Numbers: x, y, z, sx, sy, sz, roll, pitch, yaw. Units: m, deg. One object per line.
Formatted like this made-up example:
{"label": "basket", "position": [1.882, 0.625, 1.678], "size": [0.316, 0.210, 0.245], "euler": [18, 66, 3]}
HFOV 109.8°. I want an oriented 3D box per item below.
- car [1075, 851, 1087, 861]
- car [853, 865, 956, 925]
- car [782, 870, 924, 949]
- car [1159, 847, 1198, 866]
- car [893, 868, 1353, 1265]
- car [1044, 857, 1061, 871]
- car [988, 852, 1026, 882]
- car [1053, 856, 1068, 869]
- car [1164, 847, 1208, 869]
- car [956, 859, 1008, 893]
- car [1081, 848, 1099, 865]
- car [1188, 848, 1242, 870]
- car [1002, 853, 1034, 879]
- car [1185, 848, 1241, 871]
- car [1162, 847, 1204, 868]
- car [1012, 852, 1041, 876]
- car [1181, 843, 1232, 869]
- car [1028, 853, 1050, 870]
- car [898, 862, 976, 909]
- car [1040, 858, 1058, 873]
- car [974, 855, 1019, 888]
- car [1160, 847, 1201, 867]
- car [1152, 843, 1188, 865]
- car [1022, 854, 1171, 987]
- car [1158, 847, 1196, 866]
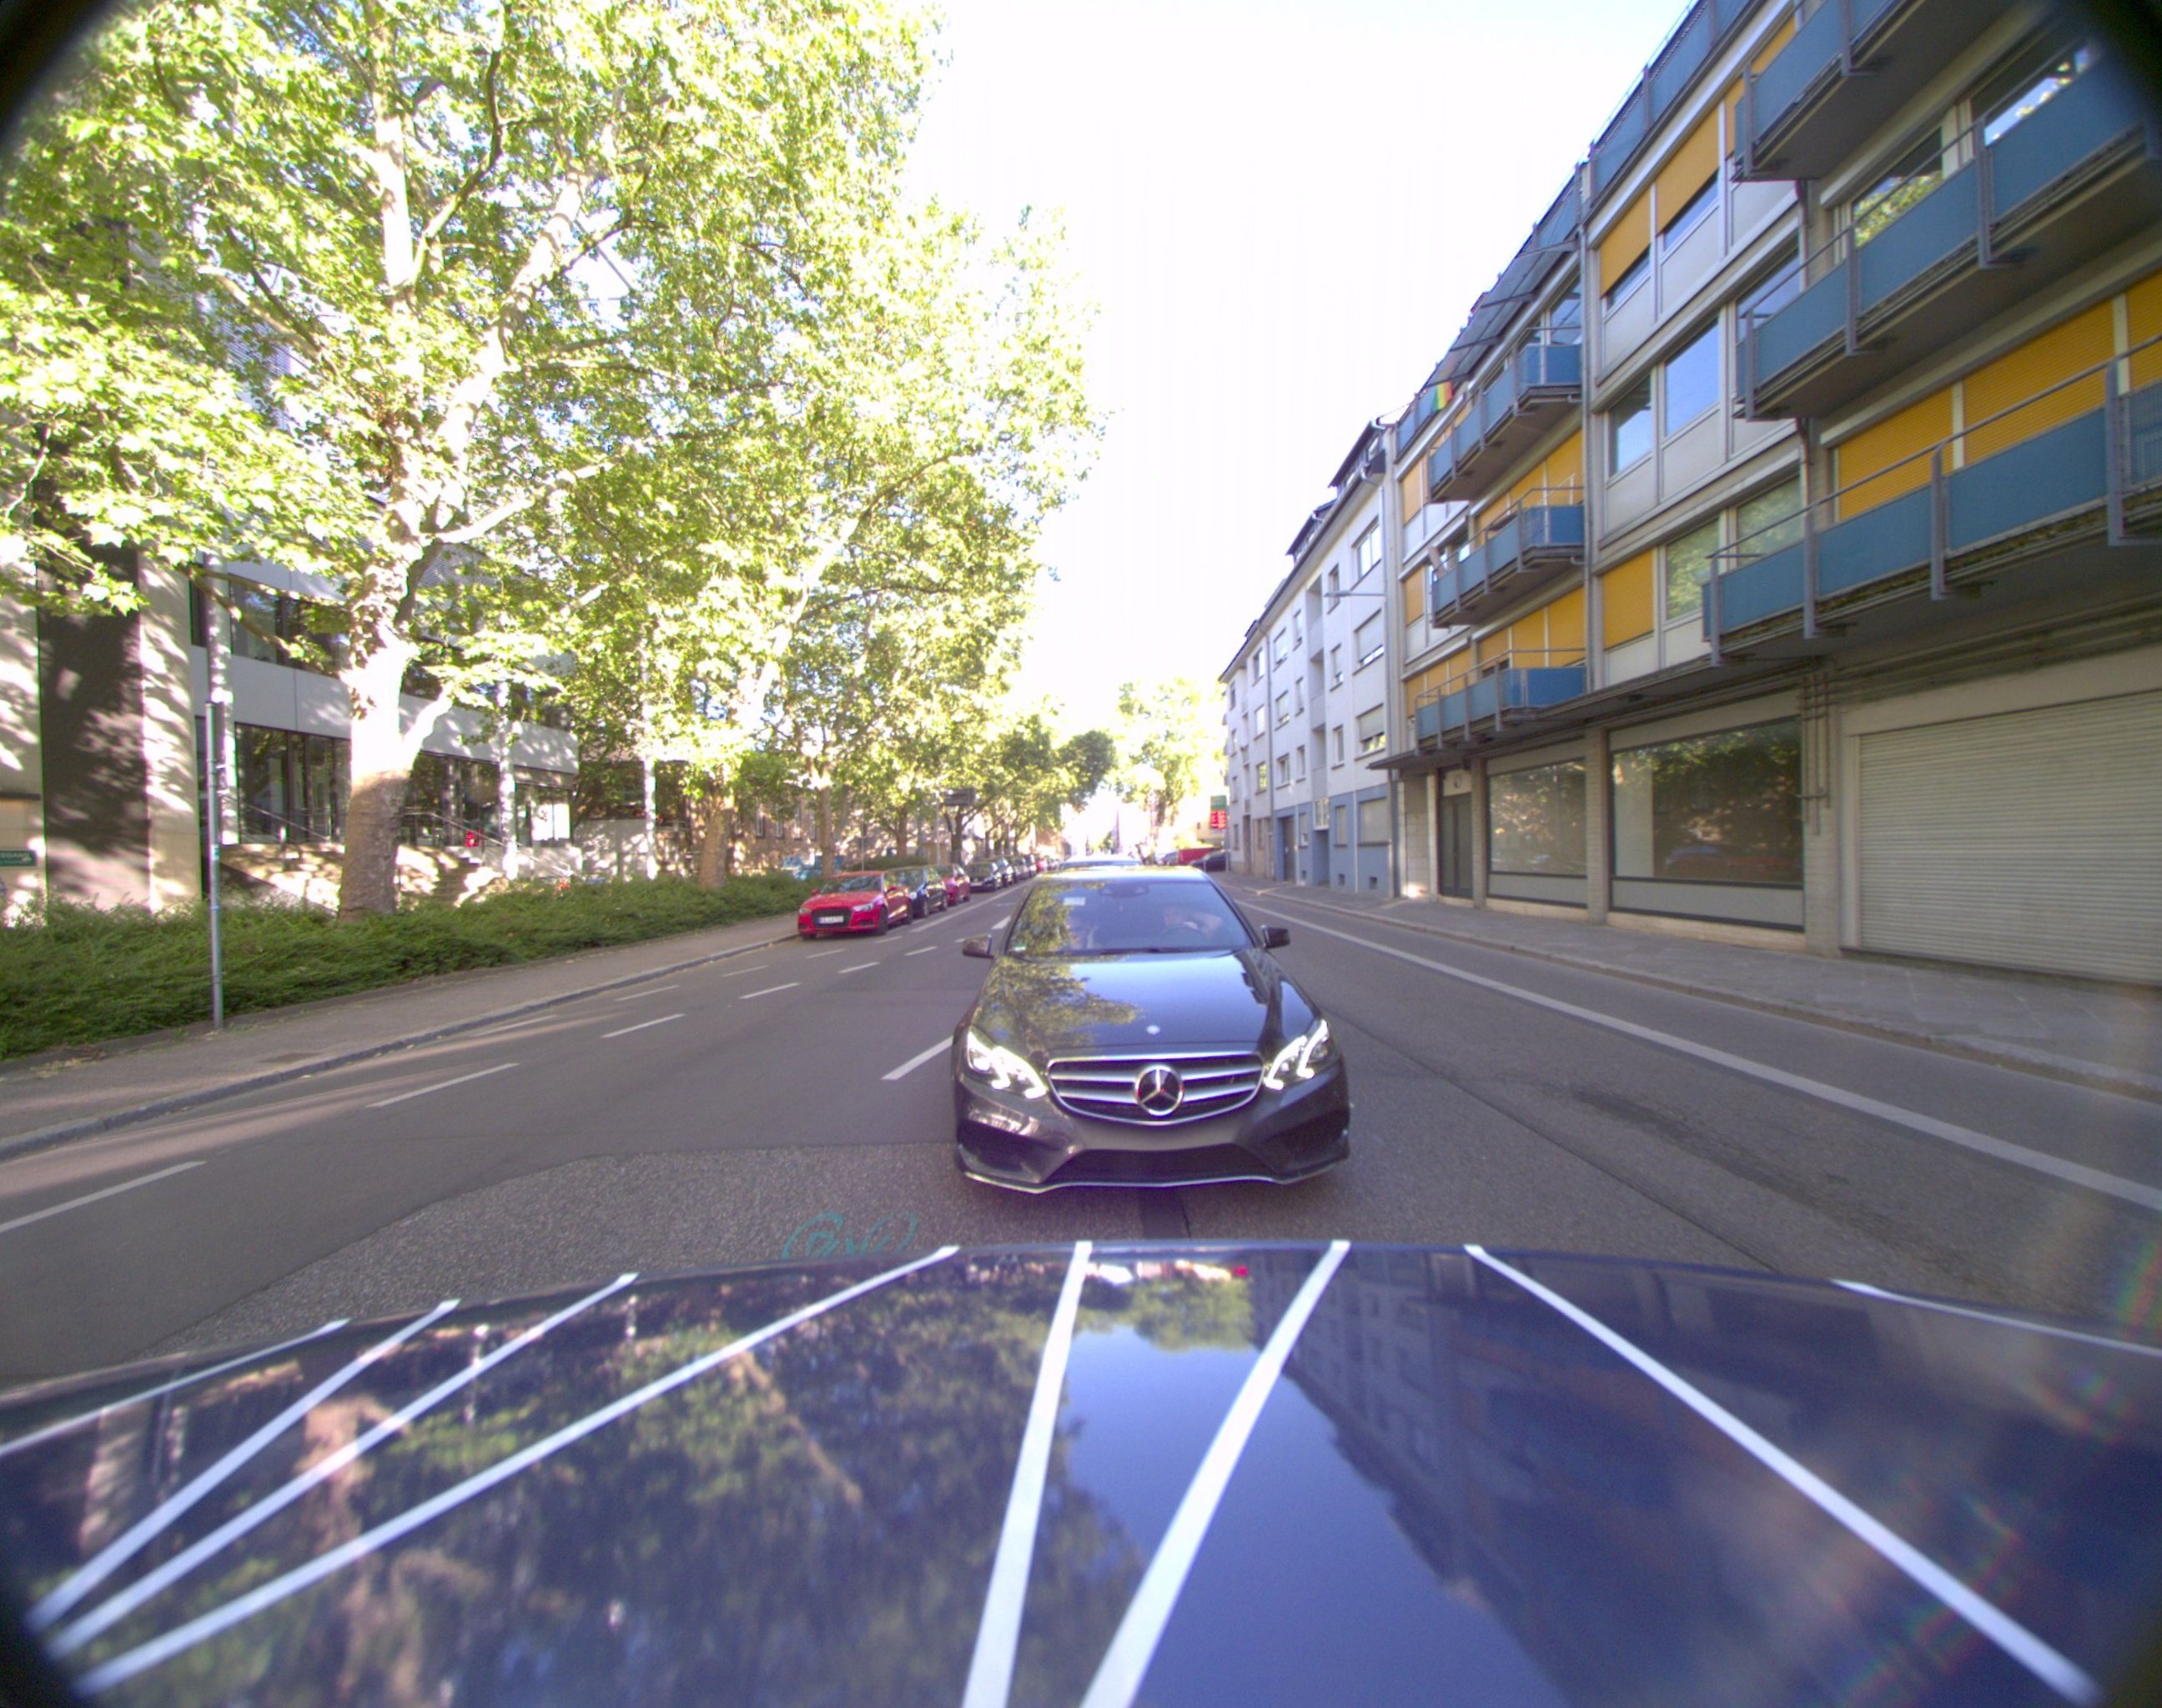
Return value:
{"label": "car", "position": [-0.016, 0.337, 130.981], "size": [1.866, 1.632, 4.481], "euler": [-2, 0, 1]}
{"label": "car", "position": [-5.043, 1.124, 22.372], "size": [1.866, 1.442, 4.481], "euler": [-2, 0, 1]}
{"label": "car", "position": [-5.103, 1.178, 17.722], "size": [1.866, 1.442, 4.481], "euler": [-2, 0, 1]}
{"label": "car", "position": [10.590, 0.272, 82.477], "size": [3.996, 1.936, 2.000], "euler": [-2, 1, 2]}
{"label": "car", "position": [0.206, 0.933, 5.398], "size": [1.866, 1.492, 4.481], "euler": [-2, 0, 1]}
{"label": "car", "position": [-3.655, 1.234, 96.774], "size": [1.866, 1.632, 4.481], "euler": [-2, 0, 1]}
{"label": "car", "position": [-4.632, 0.783, 48.124], "size": [1.866, 1.749, 4.481], "euler": [-2, 0, 1]}
{"label": "car", "position": [-2.824, 1.109, 105.181], "size": [1.866, 1.632, 4.481], "euler": [-2, 0, 1]}
{"label": "car", "position": [10.247, 0.374, 74.496], "size": [3.996, 1.936, 2.000], "euler": [-2, 1, 2]}
{"label": "car", "position": [-4.755, 1.024, 37.163], "size": [1.866, 1.442, 4.481], "euler": [-2, 0, 1]}
{"label": "car", "position": [0.962, 0.269, 80.281], "size": [1.866, 1.632, 4.481], "euler": [-2, 0, 1]}
{"label": "car", "position": [10.716, 0.374, 61.184], "size": [3.996, 1.543, 2.000], "euler": [-2, 1, 2]}
{"label": "car", "position": [-4.503, 0.818, 54.791], "size": [1.866, 1.749, 4.481], "euler": [-2, 0, 1]}
{"label": "car", "position": [10.174, 0.421, 58.862], "size": [3.996, 1.543, 2.000], "euler": [-2, 1, 2]}
{"label": "car", "position": [10.331, 0.341, 77.138], "size": [3.996, 1.936, 2.000], "euler": [-2, 1, 2]}
{"label": "car", "position": [-4.245, 0.755, 59.747], "size": [1.866, 1.749, 4.481], "euler": [-2, 0, 1]}
{"label": "car", "position": [10.548, 0.152, 64.015], "size": [3.996, 1.936, 2.000], "euler": [-2, 1, 2]}
{"label": "car", "position": [-4.199, 0.703, 76.269], "size": [1.866, 1.632, 4.481], "euler": [-2, 0, 1]}
{"label": "car", "position": [-5.087, 1.065, 27.416], "size": [1.866, 1.442, 4.481], "euler": [-2, 0, 1]}
{"label": "car", "position": [-3.765, 1.319, 89.976], "size": [1.866, 1.632, 4.481], "euler": [-2, 0, 1]}
{"label": "car", "position": [-4.620, 0.907, 42.198], "size": [1.866, 1.658, 4.481], "euler": [-2, 0, 1]}
{"label": "car", "position": [10.460, 0.305, 79.988], "size": [3.996, 1.936, 2.000], "euler": [-2, 1, 2]}
{"label": "car", "position": [10.489, 0.000, 89.498], "size": [3.996, 2.505, 2.000], "euler": [-2, 1, 2]}
{"label": "car", "position": [0.226, 0.858, 11.921], "size": [1.866, 1.630, 4.303], "euler": [-2, 0, 1]}
{"label": "car", "position": [10.735, 0.238, 84.971], "size": [3.996, 1.936, 2.000], "euler": [-2, 1, 2]}
